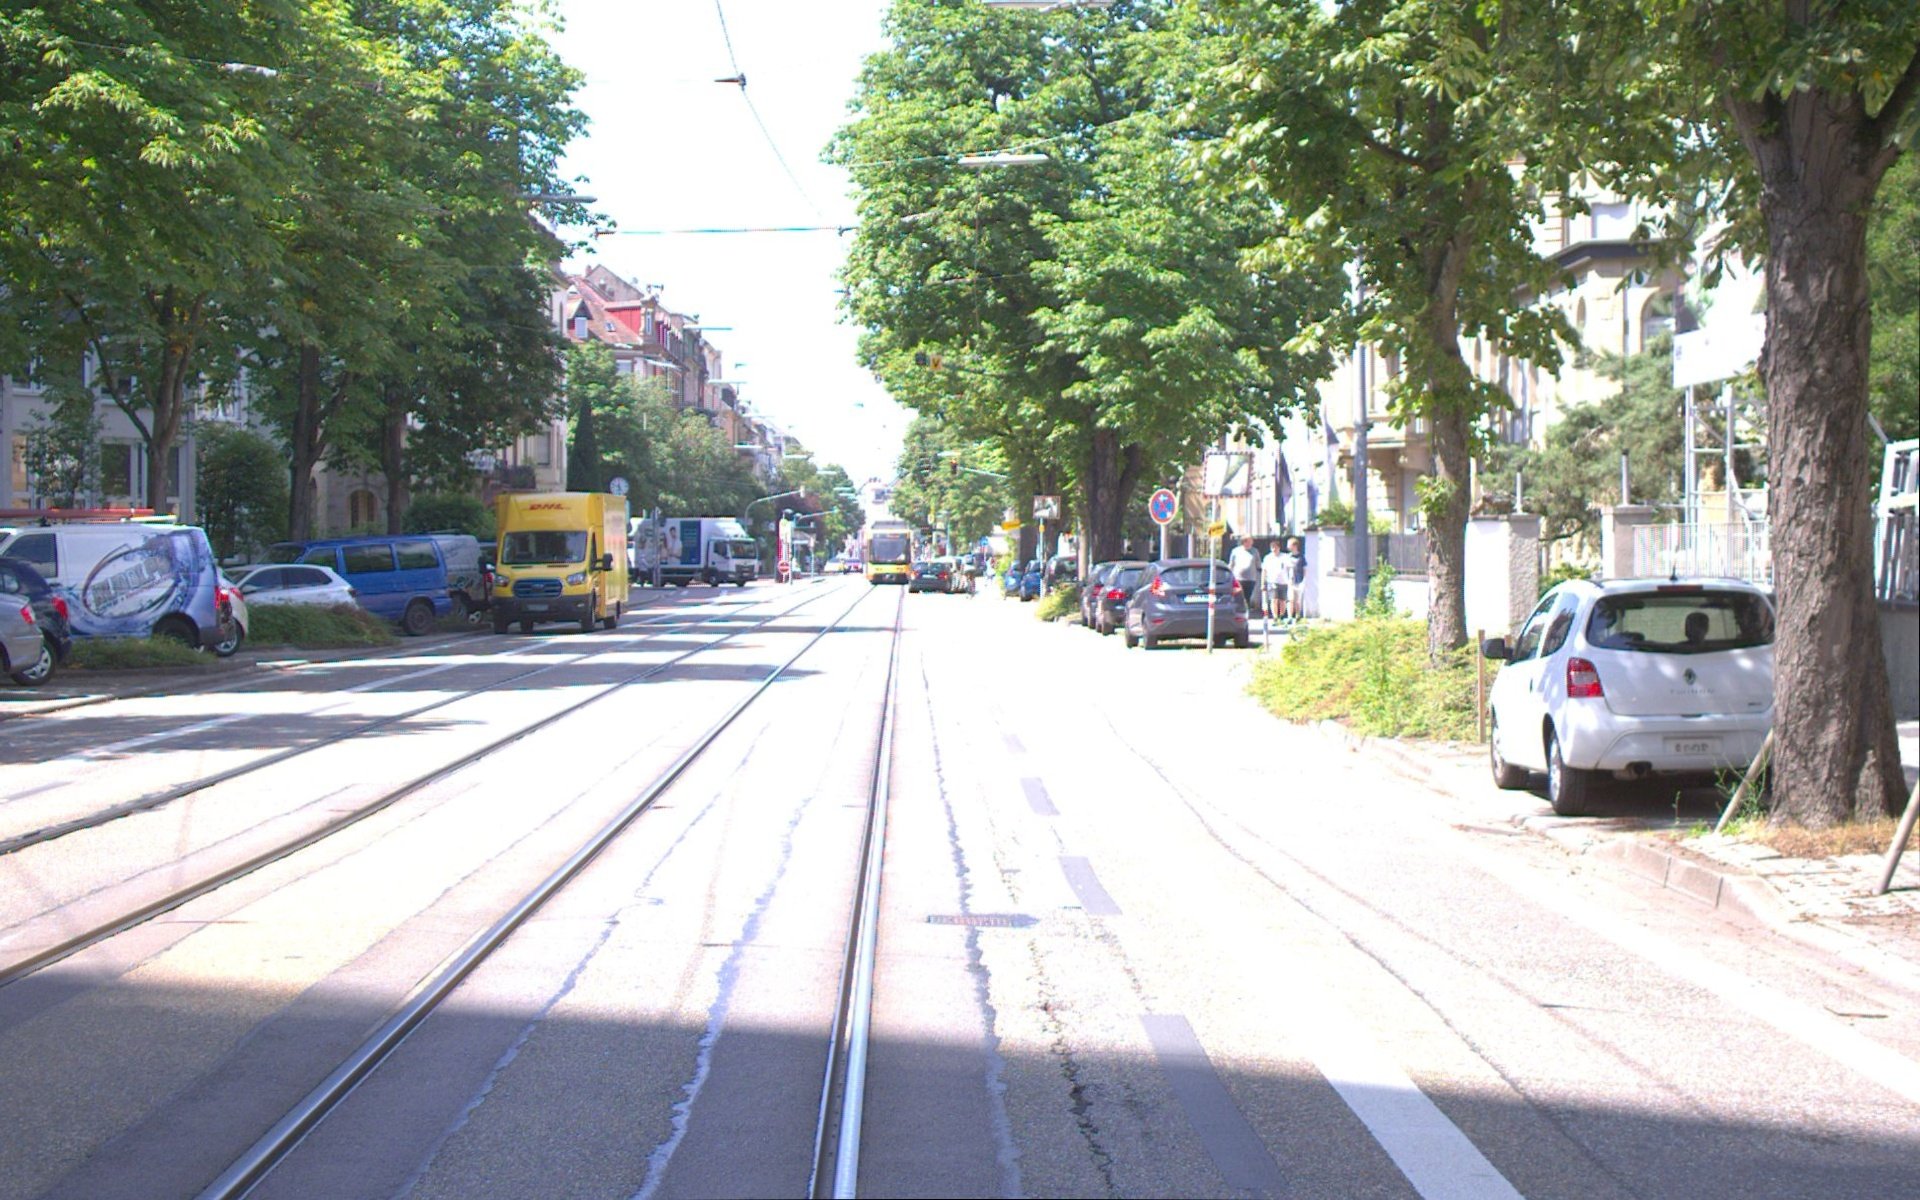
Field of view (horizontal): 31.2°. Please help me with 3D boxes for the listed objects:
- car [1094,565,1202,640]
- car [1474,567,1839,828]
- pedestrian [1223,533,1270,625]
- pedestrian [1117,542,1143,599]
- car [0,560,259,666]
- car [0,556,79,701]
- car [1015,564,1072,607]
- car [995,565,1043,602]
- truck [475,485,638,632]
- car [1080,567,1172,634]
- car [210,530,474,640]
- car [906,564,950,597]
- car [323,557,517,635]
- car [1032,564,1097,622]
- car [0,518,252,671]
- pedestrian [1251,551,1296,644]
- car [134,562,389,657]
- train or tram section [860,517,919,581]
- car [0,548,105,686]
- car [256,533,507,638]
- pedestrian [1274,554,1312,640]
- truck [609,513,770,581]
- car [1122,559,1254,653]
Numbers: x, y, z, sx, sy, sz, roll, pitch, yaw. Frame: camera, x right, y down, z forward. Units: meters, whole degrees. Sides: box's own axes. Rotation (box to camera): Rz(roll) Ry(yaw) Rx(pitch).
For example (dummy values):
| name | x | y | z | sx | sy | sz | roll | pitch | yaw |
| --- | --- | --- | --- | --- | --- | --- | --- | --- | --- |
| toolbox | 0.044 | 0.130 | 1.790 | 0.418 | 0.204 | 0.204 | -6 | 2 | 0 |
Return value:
| name | x | y | z | sx | sy | sz | roll | pitch | yaw |
| --- | --- | --- | --- | --- | --- | --- | --- | --- | --- |
| car | 3.736 | 0.032 | 68.926 | 1.876 | 1.450 | 4.528 | 0 | 0 | 0 |
| car | 4.460 | 0.566 | 22.525 | 1.644 | 1.529 | 3.785 | 0 | 1 | 1 |
| pedestrian | 5.833 | -0.430 | 69.984 | 0.809 | 1.853 | 0.576 | 0 | 1 | 23 |
| pedestrian | 5.557 | -0.966 | 112.469 | 0.808 | 1.853 | 0.623 | 0 | -1 | -2 |
| car | -12.566 | 0.181 | 51.389 | 1.761 | 1.462 | 3.700 | -1 | 1 | 44 |
| car | -11.518 | 0.331 | 35.685 | 4.192 | 1.501 | 1.873 | -2 | 1 | -42 |
| car | 2.835 | -0.489 | 116.758 | 1.710 | 1.418 | 4.310 | 0 | 0 | -1 |
| car | 2.304 | -0.667 | 134.985 | 1.710 | 1.418 | 4.310 | 0 | 0 | -1 |
| truck | -8.195 | -0.876 | 70.587 | 2.360 | 2.843 | 7.378 | -1 | 1 | 1 |
| car | 3.607 | -0.006 | 75.322 | 1.710 | 1.418 | 4.244 | 0 | 0 | -1 |
| car | -11.734 | -0.306 | 65.482 | 1.846 | 1.949 | 4.719 | 0 | 1 | 44 |
| car | -1.323 | -0.836 | 142.806 | 1.781 | 1.341 | 3.416 | 0 | 1 | -1 |
| car | -11.803 | -0.103 | 75.253 | 1.746 | 1.595 | 3.909 | 0 | 1 | 44 |
| car | 2.938 | -0.207 | 97.188 | 1.592 | 1.611 | 3.908 | 0 | 0 | -1 |
| car | -11.941 | -0.082 | 45.595 | 1.920 | 1.928 | 4.745 | -1 | 1 | 42 |
| pedestrian | 6.284 | -0.053 | 68.932 | 0.725 | 1.853 | 0.576 | 0 | 1 | 28 |
| car | -11.952 | 0.148 | 58.984 | 1.761 | 1.428 | 3.991 | -2 | 0 | 41 |
| train or tram section | -3.884 | -2.851 | 191.695 | 3.035 | 3.427 | 11.971 | 0 | 1 | 0 |
| car | -11.742 | 0.210 | 38.801 | 1.691 | 1.538 | 3.700 | 0 | 1 | 44 |
| car | -12.034 | -0.316 | 71.731 | 4.749 | 2.055 | 2.026 | -2 | 1 | -40 |
| pedestrian | 6.807 | -0.061 | 70.202 | 0.619 | 1.731 | 0.477 | -1 | 0 | 25 |
| truck | -14.241 | -2.791 | 180.570 | 8.441 | 3.538 | 2.943 | 1 | 1 | 34 |
| car | 3.705 | 0.085 | 56.425 | 1.638 | 1.480 | 3.873 | -1 | 0 | -4 |
